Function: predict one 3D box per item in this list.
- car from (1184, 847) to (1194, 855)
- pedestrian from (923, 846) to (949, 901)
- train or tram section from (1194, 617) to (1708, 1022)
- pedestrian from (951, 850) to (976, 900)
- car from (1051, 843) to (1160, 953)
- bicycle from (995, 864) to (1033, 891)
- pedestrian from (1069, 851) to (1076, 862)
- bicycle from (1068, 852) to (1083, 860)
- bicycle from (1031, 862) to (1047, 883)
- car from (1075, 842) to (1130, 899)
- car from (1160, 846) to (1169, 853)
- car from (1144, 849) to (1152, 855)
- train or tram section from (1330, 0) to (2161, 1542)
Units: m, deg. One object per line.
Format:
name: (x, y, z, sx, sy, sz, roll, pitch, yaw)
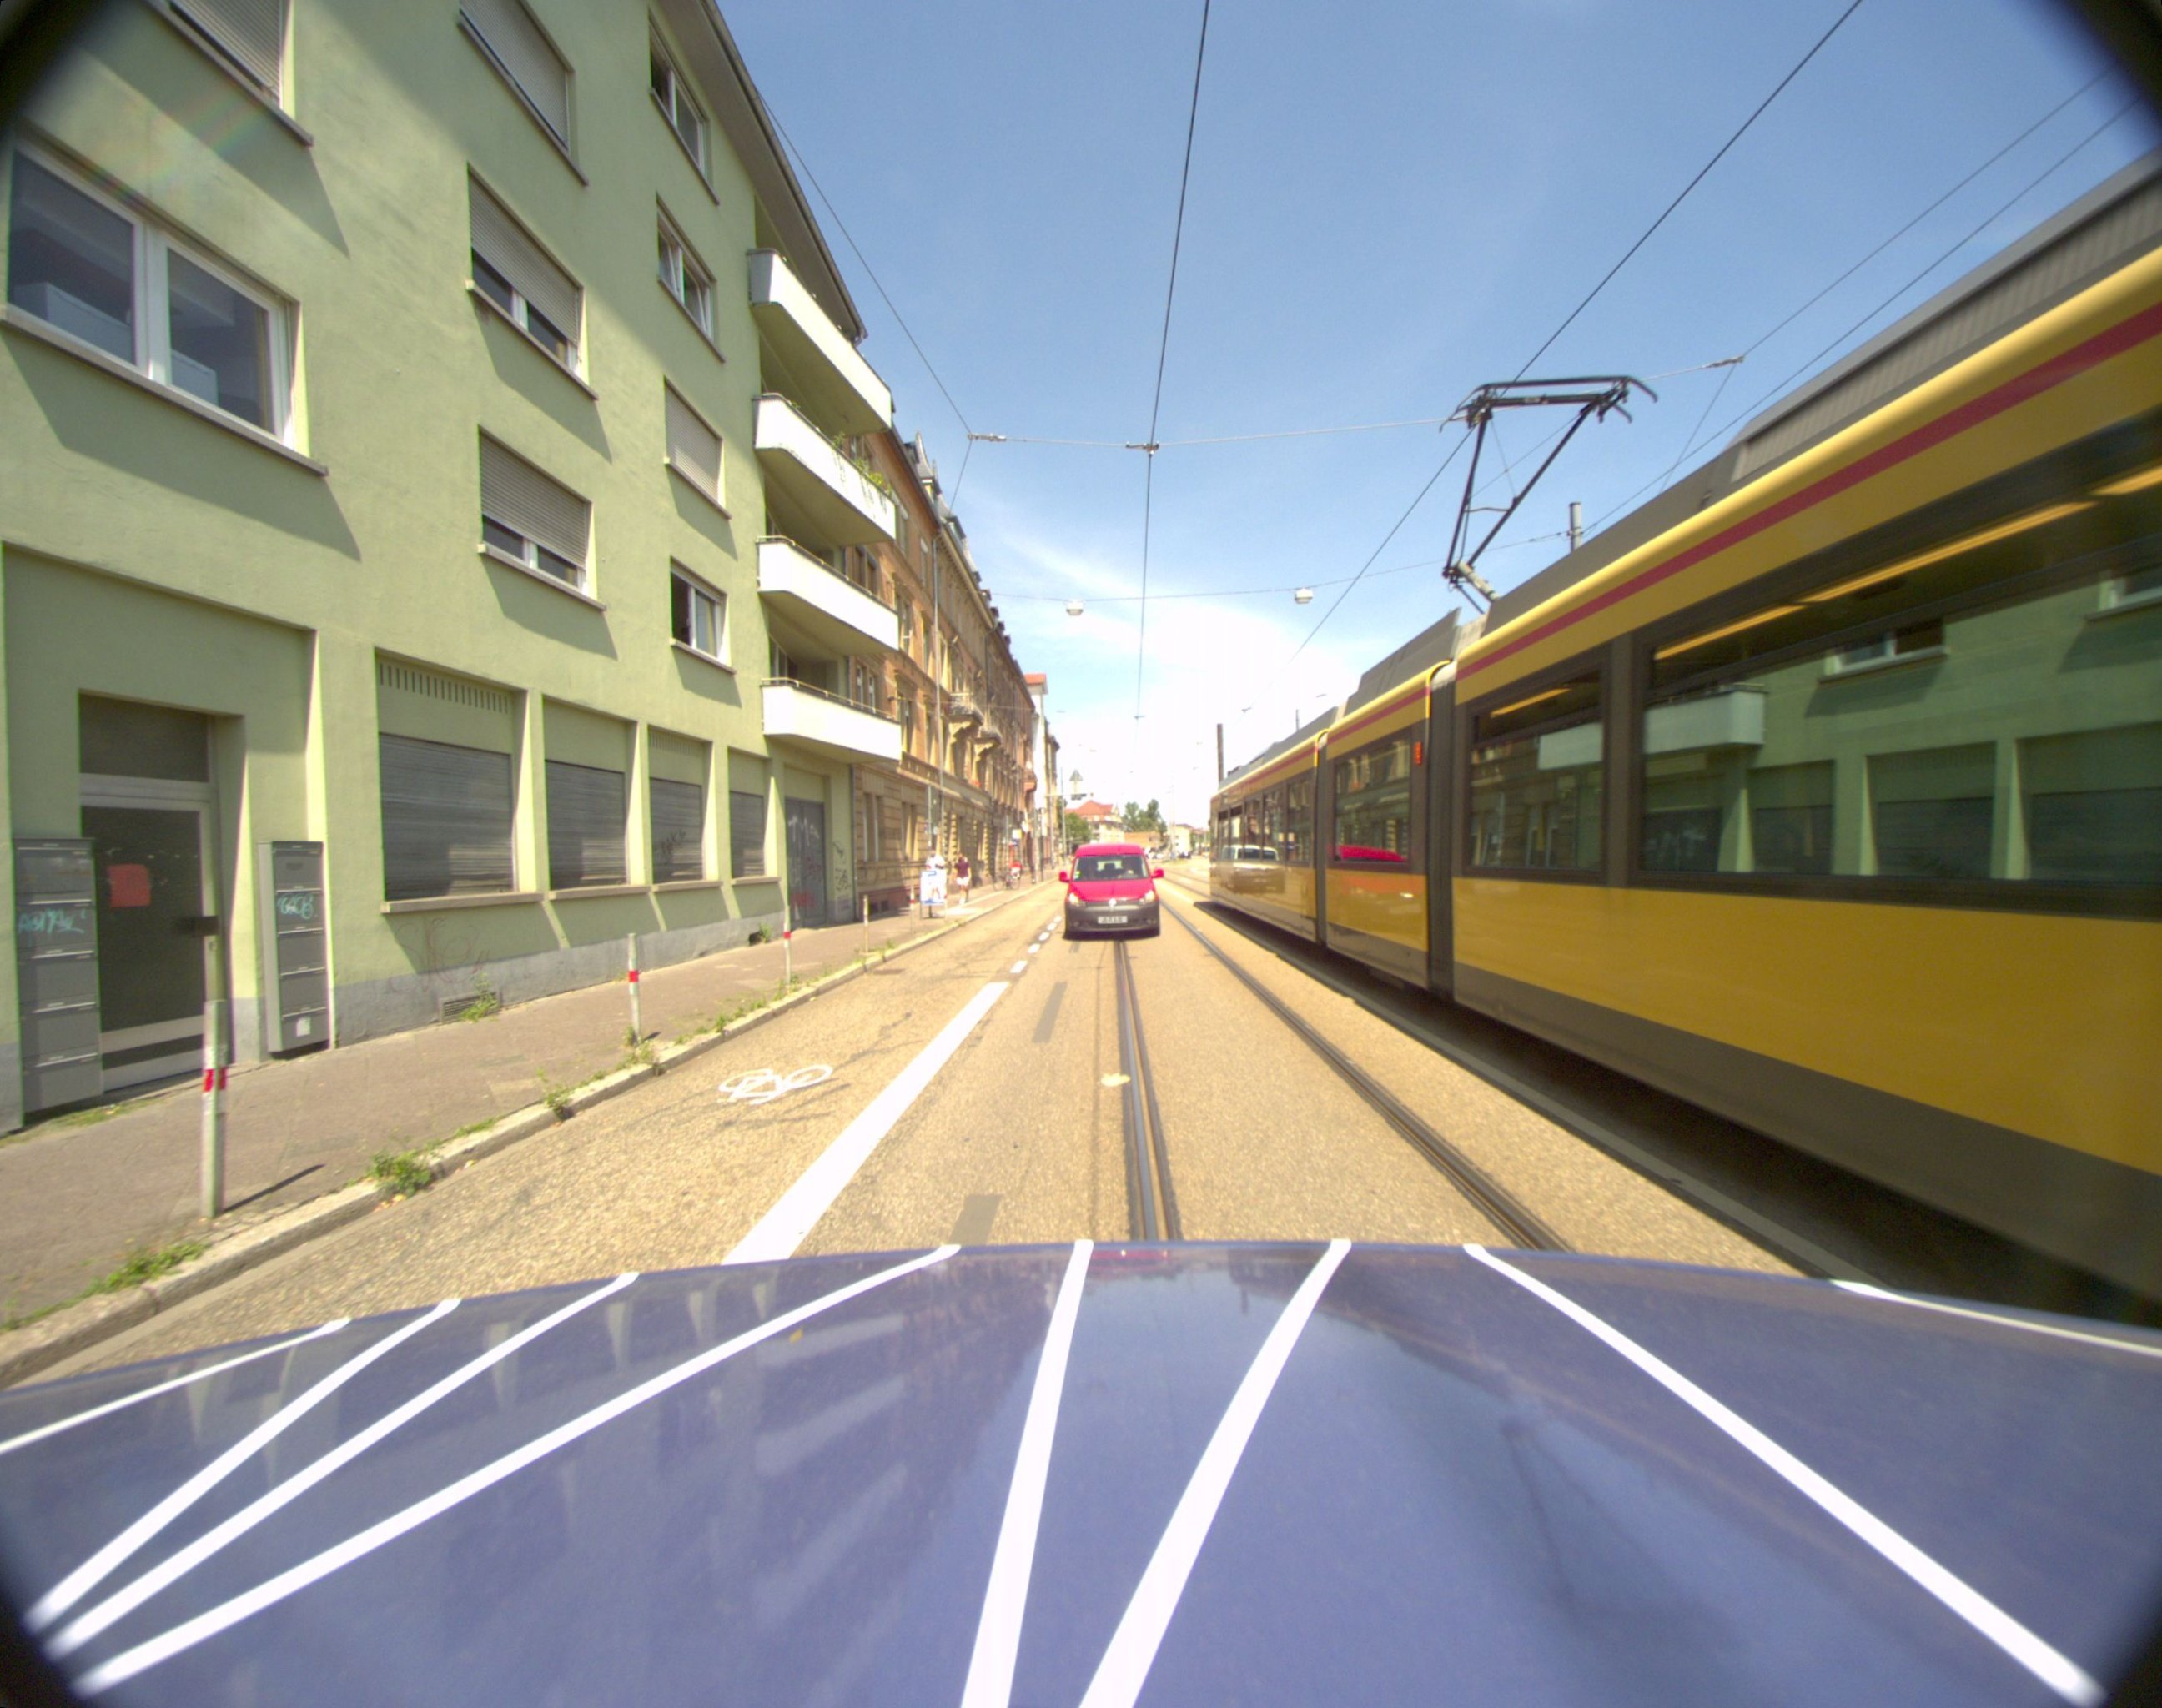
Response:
car: (22.492, -0.568, 157.894, 1.826, 1.617, 4.527, -1, 0, 6)
pedestrian: (-5.010, 0.671, 26.285, 0.704, 1.838, 0.644, 2, 1, 3)
train or tram section: (4.344, -0.326, 13.581, 2.968, 3.559, 13.424, -2, 0, 2)
pedestrian: (-4.076, 0.720, 26.387, 0.722, 1.710, 0.644, -1, 1, 3)
car: (0.616, 0.729, 14.748, 1.754, 1.802, 4.099, -2, 0, 6)
bicycle: (-3.071, 1.067, 35.216, 0.499, 1.124, 2.247, -1, 1, 31)
pedestrian: (-1.376, 0.362, 124.504, 0.826, 1.765, 0.812, -3, 2, -41)
bicycle: (-0.933, 0.363, 124.913, 2.225, 1.243, 1.096, -2, 0, -41)
bicycle: (-2.363, 1.007, 42.768, 0.448, 1.090, 2.424, -1, 0, 8)
car: (0.853, 0.579, 28.860, 1.874, 1.954, 3.824, -2, 0, 3)
car: (20.120, -1.121, 183.178, 1.998, 1.521, 5.131, 0, 1, 3)
car: (16.992, -0.488, 192.992, 1.675, 1.453, 3.904, -1, 0, 2)
train or tram section: (3.938, -0.216, 1.278, 2.968, 3.559, 13.424, -2, 0, 2)
